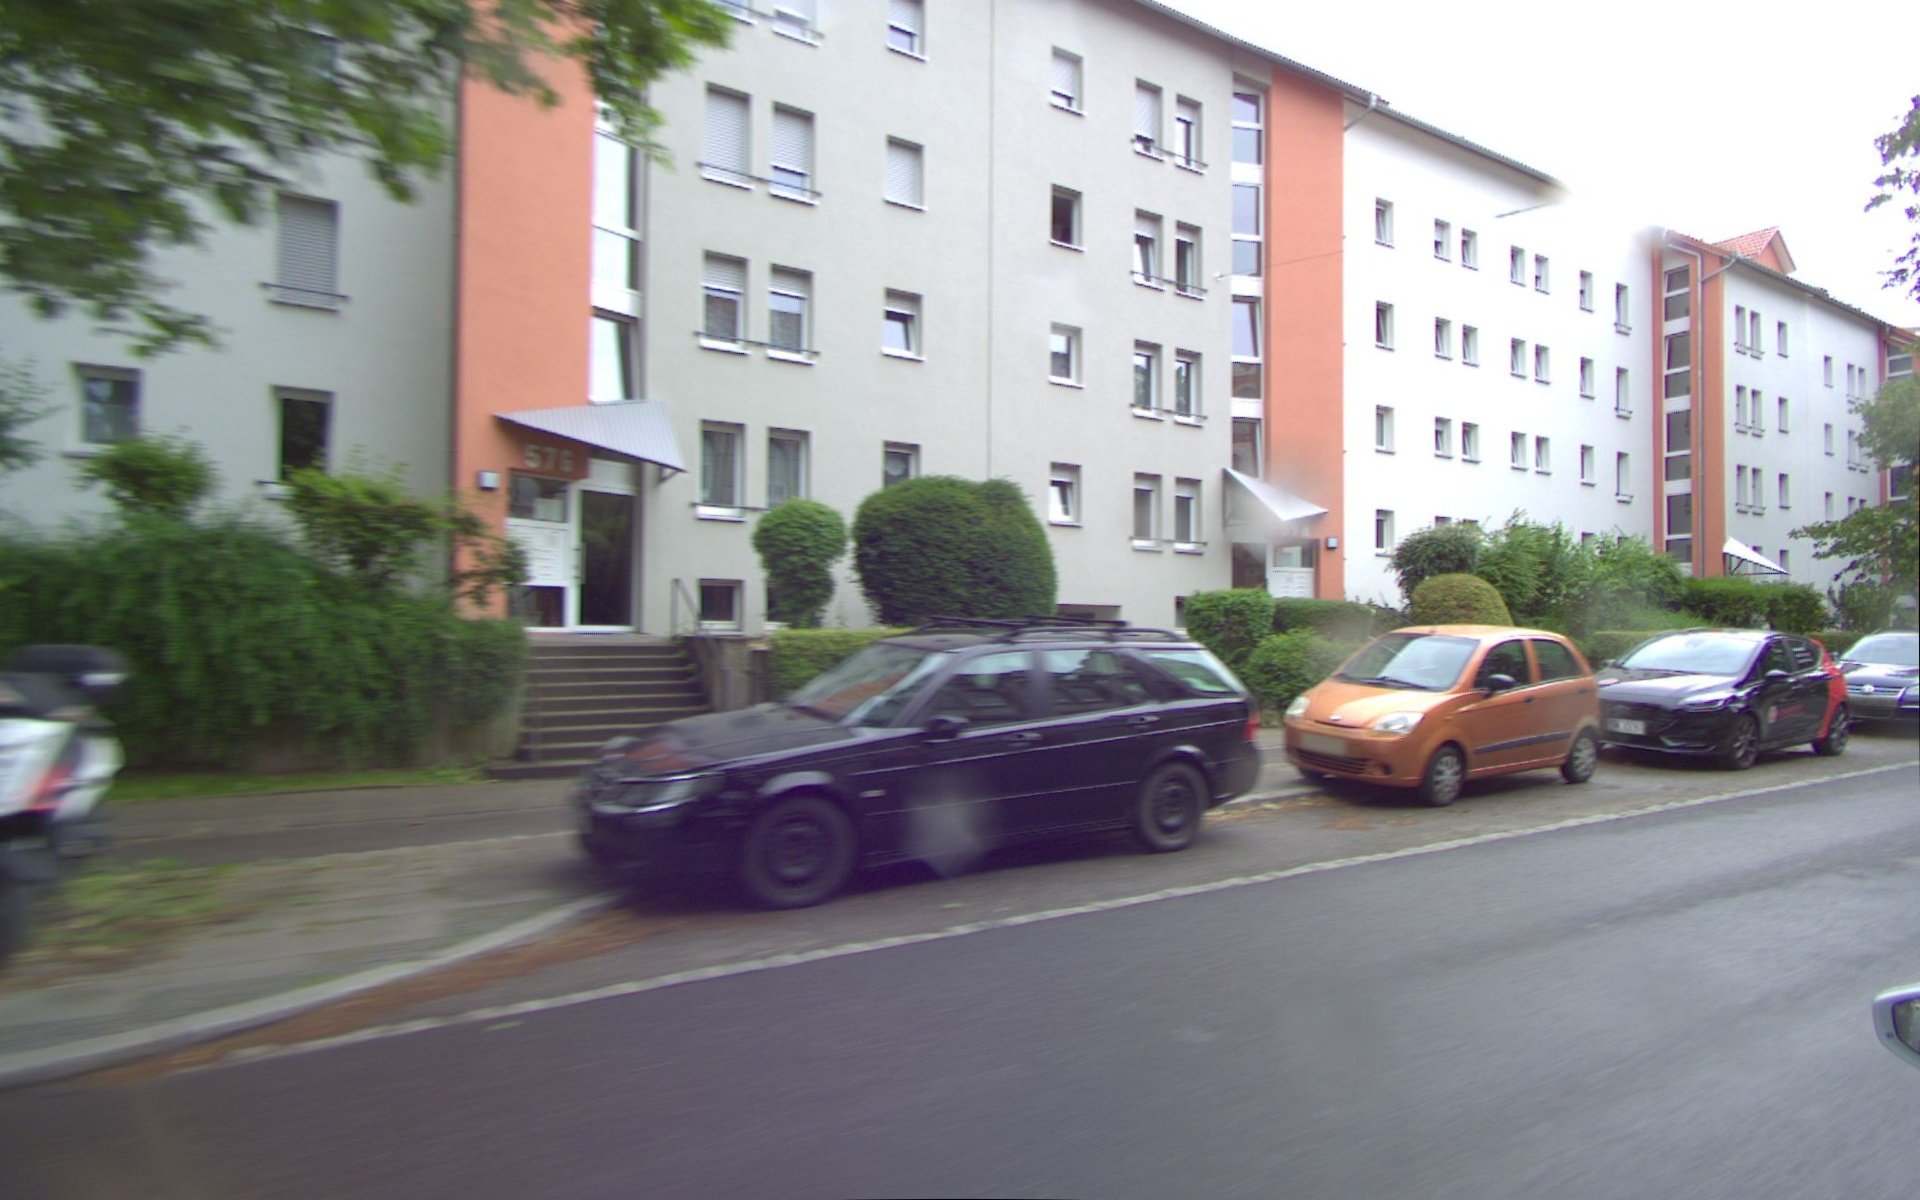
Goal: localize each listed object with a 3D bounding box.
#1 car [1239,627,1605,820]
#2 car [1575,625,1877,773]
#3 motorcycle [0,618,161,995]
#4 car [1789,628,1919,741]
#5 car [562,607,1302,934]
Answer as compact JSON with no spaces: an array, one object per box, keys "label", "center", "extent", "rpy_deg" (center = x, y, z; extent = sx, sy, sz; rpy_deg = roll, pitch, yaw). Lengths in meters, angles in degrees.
[{"label":"car","center":[4.382,1.018,9.433],"extent":[3.359,1.487,1.547],"rpy_deg":[1,-1,-32]},{"label":"car","center":[9.251,1.074,12.079],"extent":[3.714,1.487,1.707],"rpy_deg":[1,-1,-32]},{"label":"motorcycle","center":[-4.054,0.772,4.290],"extent":[0.713,1.358,1.705],"rpy_deg":[1,-2,-30]},{"label":"car","center":[14.332,1.191,15.058],"extent":[4.186,1.487,1.707],"rpy_deg":[1,-1,-32]},{"label":"car","center":[0.019,0.847,6.711],"extent":[4.751,1.529,1.707],"rpy_deg":[1,-1,-32]}]
